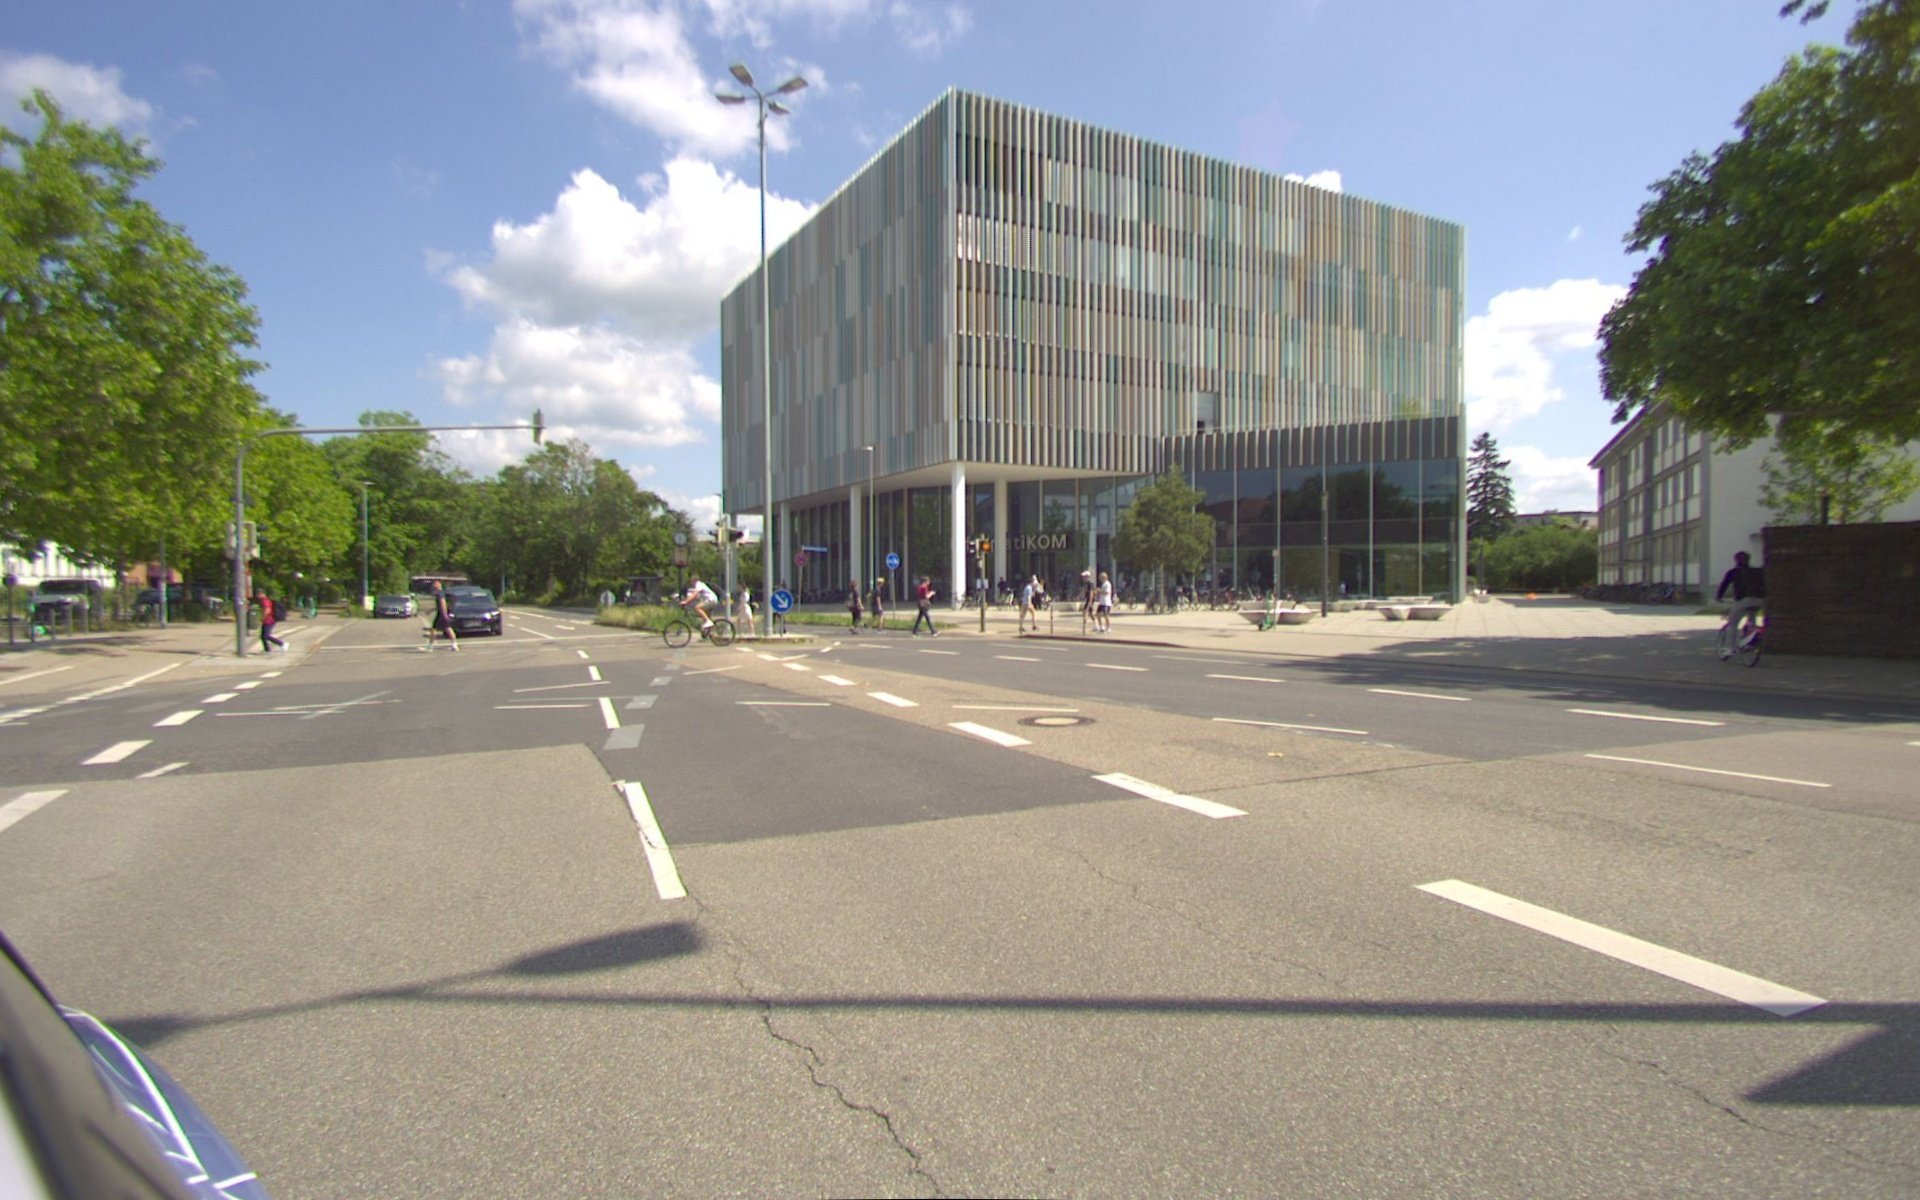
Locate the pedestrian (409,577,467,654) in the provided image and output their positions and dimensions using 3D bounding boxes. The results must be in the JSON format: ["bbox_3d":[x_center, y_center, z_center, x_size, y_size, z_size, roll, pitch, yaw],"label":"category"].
[{"bbox_3d":[-13.393,0.382,25.981,1.016,1.940,0.973,-1,0,-5],"label":"pedestrian"}]

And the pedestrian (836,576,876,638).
[{"bbox_3d":[-3.301,0.210,32.107,0.865,1.940,0.974,-1,1,-37],"label":"pedestrian"}]

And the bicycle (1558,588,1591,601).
[{"bbox_3d":[50.339,-0.455,82.923,2.240,1.024,0.644,-1,0,31],"label":"bicycle"}]

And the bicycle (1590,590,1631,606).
[{"bbox_3d":[42.952,-0.155,66.882,2.240,1.024,0.644,-1,0,31],"label":"bicycle"}]

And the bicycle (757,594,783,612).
[{"bbox_3d":[-15.768,0.254,84.157,2.036,1.506,0.623,-1,0,-26],"label":"bicycle"}]

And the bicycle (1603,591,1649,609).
[{"bbox_3d":[39.152,-0.016,59.501,2.240,1.024,0.644,-1,0,31],"label":"bicycle"}]

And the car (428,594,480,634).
[{"bbox_3d":[-21.062,0.560,42.044,1.815,1.548,4.013,-1,0,-28],"label":"car"}]

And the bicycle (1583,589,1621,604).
[{"bbox_3d":[45.056,-0.219,71.025,2.240,1.024,0.644,-1,0,31],"label":"bicycle"}]

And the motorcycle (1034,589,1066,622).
[{"bbox_3d":[4.791,0.279,53.580,0.963,1.652,3.278,-1,0,18],"label":"motorcycle"}]

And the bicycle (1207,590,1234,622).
[{"bbox_3d":[12.903,0.276,50.175,0.989,1.563,3.404,-1,0,10],"label":"bicycle"}]

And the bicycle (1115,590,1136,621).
[{"bbox_3d":[8.547,0.258,52.216,0.989,1.563,3.404,-1,0,10],"label":"bicycle"}]

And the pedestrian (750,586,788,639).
[{"bbox_3d":[-6.049,0.381,32.041,0.864,1.641,0.974,-1,1,-34],"label":"pedestrian"}]

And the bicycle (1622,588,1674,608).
[{"bbox_3d":[36.524,-0.086,53.762,2.240,1.024,0.644,-1,0,31],"label":"bicycle"}]

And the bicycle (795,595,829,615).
[{"bbox_3d":[-11.208,0.357,76.861,2.470,1.506,0.623,-1,0,-26],"label":"bicycle"}]

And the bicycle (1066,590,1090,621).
[{"bbox_3d":[6.210,0.250,53.205,1.040,1.563,3.404,-1,0,10],"label":"bicycle"}]

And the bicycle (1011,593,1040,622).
[{"bbox_3d":[3.513,0.385,54.010,0.925,1.505,2.672,-1,1,18],"label":"bicycle"}]

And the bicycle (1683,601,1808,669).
[{"bbox_3d":[13.282,0.562,17.186,0.807,1.071,1.891,-1,1,7],"label":"bicycle"}]

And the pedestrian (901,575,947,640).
[{"bbox_3d":[-1.113,0.213,30.992,1.090,1.940,0.975,-1,0,-25],"label":"pedestrian"}]

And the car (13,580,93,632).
[{"bbox_3d":[-38.140,0.250,42.654,1.967,2.070,4.240,-1,0,-34],"label":"car"}]

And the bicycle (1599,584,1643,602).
[{"bbox_3d":[40.134,-0.418,61.469,2.240,1.024,0.644,-1,0,31],"label":"bicycle"}]

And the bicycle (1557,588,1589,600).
[{"bbox_3d":[51.700,-0.492,85.372,2.240,1.024,0.644,-1,0,31],"label":"bicycle"}]

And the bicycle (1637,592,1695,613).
[{"bbox_3d":[33.859,0.119,48.574,2.240,1.024,0.644,-1,0,31],"label":"bicycle"}]

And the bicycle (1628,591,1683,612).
[{"bbox_3d":[34.814,0.080,50.687,2.240,1.024,0.644,-1,0,31],"label":"bicycle"}]

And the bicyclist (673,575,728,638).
[{"bbox_3d":[-6.245,0.144,24.327,1.058,1.455,0.975,-1,1,-27],"label":"bicyclist"}]

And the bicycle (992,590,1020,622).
[{"bbox_3d":[2.508,0.300,54.332,0.803,1.656,3.398,-1,0,15],"label":"bicycle"}]

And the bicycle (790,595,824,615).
[{"bbox_3d":[-11.458,0.377,75.730,2.470,1.506,0.623,-1,0,-26],"label":"bicycle"}]

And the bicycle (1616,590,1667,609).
[{"bbox_3d":[37.100,-0.005,55.119,2.240,1.024,0.644,-1,0,31],"label":"bicycle"}]

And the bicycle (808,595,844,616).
[{"bbox_3d":[-9.735,0.405,73.581,2.470,1.506,0.732,-1,0,-16],"label":"bicycle"}]

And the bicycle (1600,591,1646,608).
[{"bbox_3d":[39.761,-0.039,60.709,2.240,1.024,0.644,-1,0,31],"label":"bicycle"}]

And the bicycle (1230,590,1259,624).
[{"bbox_3d":[14.012,0.323,49.939,0.989,1.563,3.404,-1,1,10],"label":"bicycle"}]

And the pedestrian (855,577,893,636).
[{"bbox_3d":[-2.888,0.216,33.915,0.864,1.940,0.974,-1,1,-35],"label":"pedestrian"}]

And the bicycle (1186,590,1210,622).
[{"bbox_3d":[11.892,0.272,50.658,0.989,1.563,3.404,-1,0,10],"label":"bicycle"}]

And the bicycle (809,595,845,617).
[{"bbox_3d":[-9.536,0.422,72.554,2.411,1.506,0.623,-1,0,-26],"label":"bicycle"}]

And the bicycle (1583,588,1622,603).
[{"bbox_3d":[44.496,-0.306,70.155,2.240,1.024,0.644,-1,0,31],"label":"bicycle"}]

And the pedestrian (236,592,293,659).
[{"bbox_3d":[-17.369,0.616,25.301,1.045,1.609,0.975,-1,1,-29],"label":"pedestrian"}]

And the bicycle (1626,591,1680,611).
[{"bbox_3d":[35.476,0.057,51.829,2.240,1.024,0.644,-1,0,31],"label":"bicycle"}]

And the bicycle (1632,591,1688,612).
[{"bbox_3d":[34.447,0.096,49.842,2.240,1.024,0.644,-1,0,31],"label":"bicycle"}]

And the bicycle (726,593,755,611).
[{"bbox_3d":[-19.643,0.165,90.490,2.470,1.506,0.623,-1,0,-26],"label":"bicycle"}]

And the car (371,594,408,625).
[{"bbox_3d":[-34.536,0.561,61.201,1.881,1.796,4.012,-1,0,-30],"label":"car"}]

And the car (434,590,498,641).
[{"bbox_3d":[-17.084,0.496,34.932,1.815,1.614,4.013,-1,0,-28],"label":"car"}]

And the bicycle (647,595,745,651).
[{"bbox_3d":[-6.326,0.532,24.295,2.128,1.261,0.888,-1,1,-27],"label":"bicycle"}]

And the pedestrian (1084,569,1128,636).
[{"bbox_3d":[4.368,0.069,30.327,1.093,1.940,0.973,-1,0,-4],"label":"pedestrian"}]

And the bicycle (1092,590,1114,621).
[{"bbox_3d":[7.467,0.255,52.666,0.989,1.563,3.404,-1,0,10],"label":"bicycle"}]

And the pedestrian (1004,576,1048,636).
[{"bbox_3d":[2.177,0.176,33.497,1.090,1.940,0.975,-1,0,-22],"label":"pedestrian"}]

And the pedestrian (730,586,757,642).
[{"bbox_3d":[-6.030,0.385,28.194,0.582,1.515,0.417,-1,1,-45],"label":"pedestrian"}]

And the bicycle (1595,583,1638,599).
[{"bbox_3d":[41.840,-0.558,64.540,2.240,1.024,0.644,-1,0,31],"label":"bicycle"}]

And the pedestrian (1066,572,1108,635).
[{"bbox_3d":[3.969,0.097,31.691,1.093,1.940,0.973,-1,0,-3],"label":"pedestrian"}]

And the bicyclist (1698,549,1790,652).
[{"bbox_3d":[13.261,0.003,17.150,0.776,1.680,1.107,-1,0,8],"label":"bicyclist"}]

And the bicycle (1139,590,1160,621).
[{"bbox_3d":[9.688,0.264,51.749,0.989,1.563,3.404,-1,0,10],"label":"bicycle"}]

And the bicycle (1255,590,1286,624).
[{"bbox_3d":[14.859,0.317,48.503,0.989,1.563,3.404,-1,0,10],"label":"bicycle"}]

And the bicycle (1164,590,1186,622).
[{"bbox_3d":[10.814,0.271,50.981,0.989,1.563,3.404,-1,0,10],"label":"bicycle"}]
